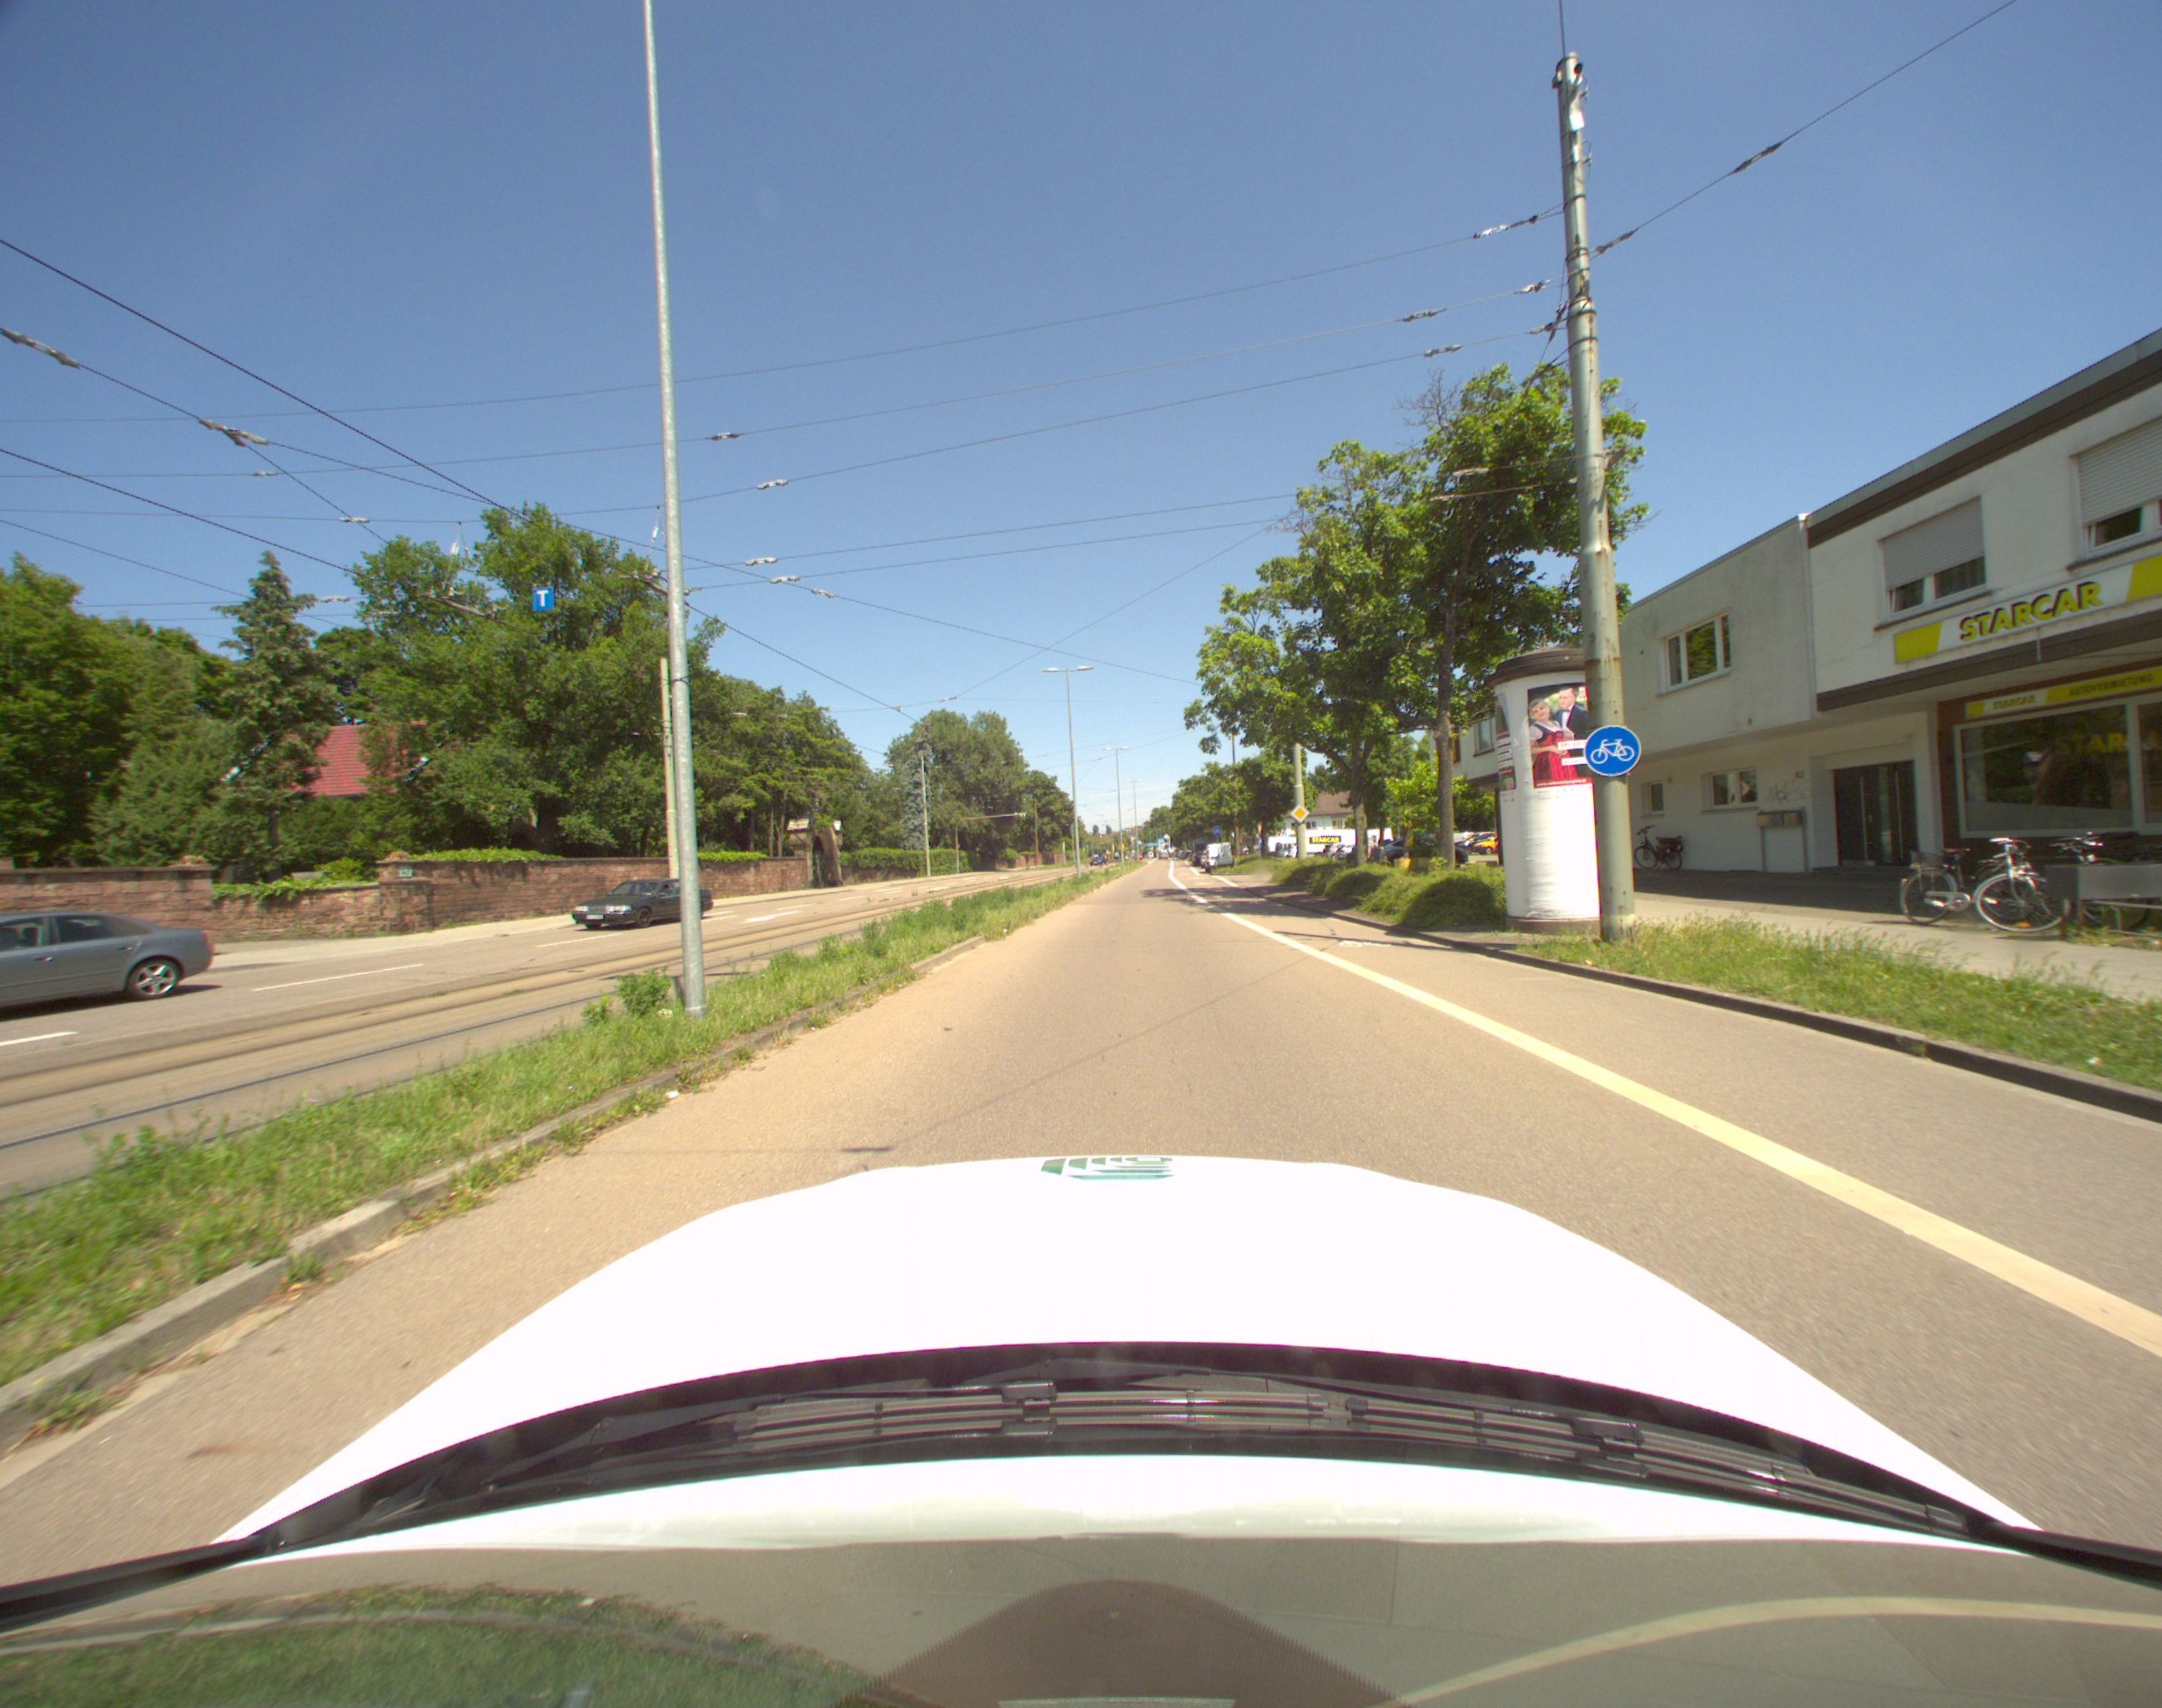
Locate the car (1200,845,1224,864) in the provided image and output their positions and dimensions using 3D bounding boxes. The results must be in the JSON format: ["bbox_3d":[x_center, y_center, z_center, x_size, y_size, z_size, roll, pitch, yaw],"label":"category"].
[{"bbox_3d":[10.890,0.038,67.943,1.713,1.428,4.217,-5,0,6],"label":"car"}]

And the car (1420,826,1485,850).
[{"bbox_3d":[34.871,-1.488,76.495,5.070,1.876,2.099,-4,0,6],"label":"car"}]

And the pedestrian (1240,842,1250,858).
[{"bbox_3d":[17.158,-0.425,85.257,0.801,1.625,0.945,-3,0,6],"label":"pedestrian"}]

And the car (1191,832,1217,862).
[{"bbox_3d":[11.934,-0.658,79.183,1.988,2.636,6.088,-5,0,6],"label":"car"}]

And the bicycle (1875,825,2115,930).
[{"bbox_3d":[10.551,0.241,9.538,0.540,1.068,2.023,-3,0,2],"label":"bicycle"}]

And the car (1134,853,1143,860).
[{"bbox_3d":[12.943,0.464,182.960,1.698,1.414,4.288,-2,0,5],"label":"car"}]

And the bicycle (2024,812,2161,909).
[{"bbox_3d":[12.181,0.061,9.274,0.540,1.068,2.023,-3,0,2],"label":"bicycle"}]

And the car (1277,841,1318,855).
[{"bbox_3d":[22.915,-0.677,86.172,3.872,1.406,1.728,-1,0,1],"label":"car"}]

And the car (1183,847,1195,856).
[{"bbox_3d":[19.429,-0.435,146.768,1.832,1.436,4.830,-5,0,4],"label":"car"}]

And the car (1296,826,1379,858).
[{"bbox_3d":[21.225,-1.013,67.649,6.304,2.529,2.269,-1,0,8],"label":"car"}]

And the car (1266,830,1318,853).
[{"bbox_3d":[23.764,-1.368,92.029,5.461,2.459,2.099,-1,0,6],"label":"car"}]

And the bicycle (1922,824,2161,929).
[{"bbox_3d":[11.133,0.225,9.504,0.540,1.068,2.023,-3,0,2],"label":"bicycle"}]

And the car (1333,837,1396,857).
[{"bbox_3d":[19.868,-0.509,57.249,3.868,1.325,1.730,-1,0,5],"label":"car"}]

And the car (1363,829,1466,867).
[{"bbox_3d":[15.960,-0.281,39.166,4.122,1.610,1.946,-3,0,2],"label":"car"}]

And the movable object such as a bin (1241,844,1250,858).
[{"bbox_3d":[17.070,-0.291,84.331,0.788,1.352,0.890,-3,0,6],"label":"movable object such as a bin"}]

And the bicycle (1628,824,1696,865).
[{"bbox_3d":[16.113,-0.251,22.640,0.540,1.068,1.902,-3,0,2],"label":"bicycle"}]

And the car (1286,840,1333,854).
[{"bbox_3d":[22.692,-0.694,80.980,4.258,1.406,1.729,-1,0,3],"label":"car"}]

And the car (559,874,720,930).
[{"bbox_3d":[-13.548,1.414,25.423,1.831,1.416,5.043,0,0,6],"label":"car"}]

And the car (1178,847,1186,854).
[{"bbox_3d":[26.242,-0.838,212.219,1.831,1.694,4.787,-5,0,6],"label":"car"}]

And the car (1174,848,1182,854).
[{"bbox_3d":[27.168,-0.799,229.089,1.700,1.492,5.041,-5,0,2],"label":"car"}]

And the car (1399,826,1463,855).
[{"bbox_3d":[35.025,-1.304,81.608,5.462,2.459,2.099,-4,0,6],"label":"car"}]

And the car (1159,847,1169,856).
[{"bbox_3d":[16.786,-0.599,165.619,1.748,1.630,4.328,-5,0,3],"label":"car"}]

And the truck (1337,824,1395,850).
[{"bbox_3d":[38.763,-2.282,111.080,6.914,3.085,2.428,-4,0,5],"label":"truck"}]

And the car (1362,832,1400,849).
[{"bbox_3d":[37.130,-1.693,100.857,3.983,1.807,1.755,-4,0,2],"label":"car"}]

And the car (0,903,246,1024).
[{"bbox_3d":[-15.247,1.559,11.468,1.831,1.416,4.719,0,0,6],"label":"car"}]

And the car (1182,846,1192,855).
[{"bbox_3d":[21.307,-0.695,164.302,1.831,1.706,4.636,-5,0,7],"label":"car"}]

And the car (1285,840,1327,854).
[{"bbox_3d":[23.114,-0.697,83.817,3.869,1.406,1.729,-1,0,3],"label":"car"}]

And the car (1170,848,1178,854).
[{"bbox_3d":[27.451,-0.802,240.309,1.703,1.562,4.318,-5,0,-3],"label":"car"}]

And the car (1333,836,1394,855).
[{"bbox_3d":[20.638,-0.616,59.623,3.868,1.325,1.730,-1,0,5],"label":"car"}]

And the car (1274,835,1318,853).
[{"bbox_3d":[23.478,-1.086,89.042,4.390,1.909,1.955,-1,0,1],"label":"car"}]

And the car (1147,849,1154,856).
[{"bbox_3d":[21.969,-0.441,257.863,1.986,2.014,4.001,0,-1,1],"label":"car"}]

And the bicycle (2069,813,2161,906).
[{"bbox_3d":[12.783,0.054,9.299,0.540,1.068,2.023,-3,0,2],"label":"bicycle"}]

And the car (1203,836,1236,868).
[{"bbox_3d":[9.505,-0.151,56.247,1.869,1.916,5.134,-5,0,7],"label":"car"}]

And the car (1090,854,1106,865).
[{"bbox_3d":[2.327,0.692,110.681,1.746,1.448,4.132,-1,0,8],"label":"car"}]

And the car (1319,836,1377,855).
[{"bbox_3d":[20.326,-0.635,62.127,3.874,1.380,1.727,-1,0,0],"label":"car"}]
